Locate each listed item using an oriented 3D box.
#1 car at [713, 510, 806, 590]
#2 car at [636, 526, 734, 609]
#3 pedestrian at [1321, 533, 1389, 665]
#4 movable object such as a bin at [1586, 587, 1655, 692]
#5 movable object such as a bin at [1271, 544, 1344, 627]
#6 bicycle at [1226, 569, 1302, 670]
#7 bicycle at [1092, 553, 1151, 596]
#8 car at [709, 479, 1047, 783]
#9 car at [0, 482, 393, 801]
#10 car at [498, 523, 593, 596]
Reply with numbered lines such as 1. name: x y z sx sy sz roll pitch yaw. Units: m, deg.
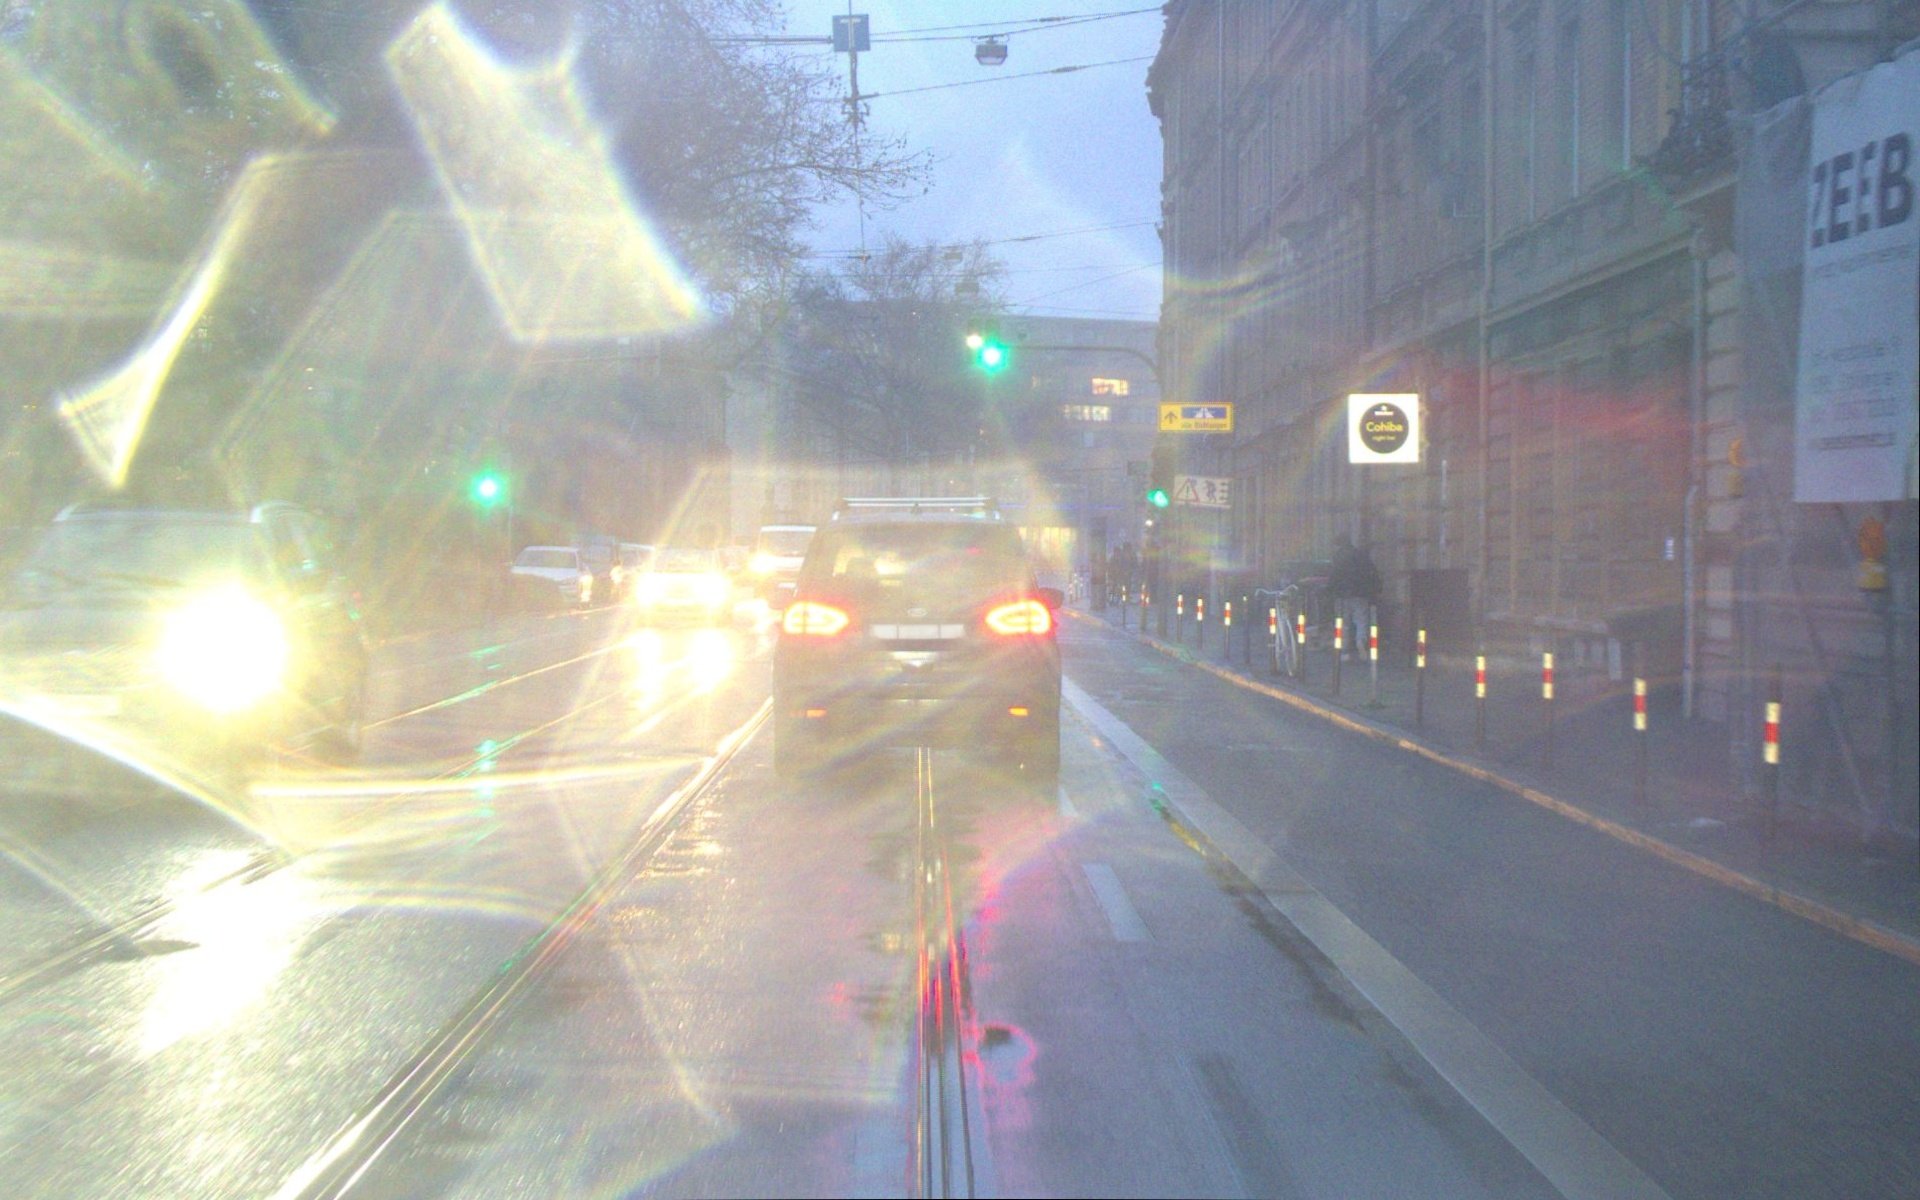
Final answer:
1. car: -5.974 -1.482 103.038 2.446 2.339 5.845 0 1 0
2. car: -5.042 -0.619 63.344 1.530 1.476 3.561 0 1 0
3. pedestrian: 5.174 -0.013 44.974 0.835 1.695 0.953 1 0 8
4. movable object such as a bin: 5.988 0.356 31.177 0.506 0.928 0.507 1 1 -2
5. movable object such as a bin: 5.510 -0.237 54.587 0.887 1.284 1.262 0 1 -7
6. bicycle: 3.599 0.212 40.843 0.684 1.152 2.188 1 0 0
7. bicycle: 4.412 -0.702 94.124 0.792 1.140 2.244 1 1 -19
8. car: -0.453 0.158 23.002 1.994 1.835 4.000 1 1 2
9. car: -4.722 0.177 20.844 1.875 1.704 4.761 0 1 -1
10. car: -9.641 -0.940 80.242 1.983 1.610 4.430 1 1 -5
